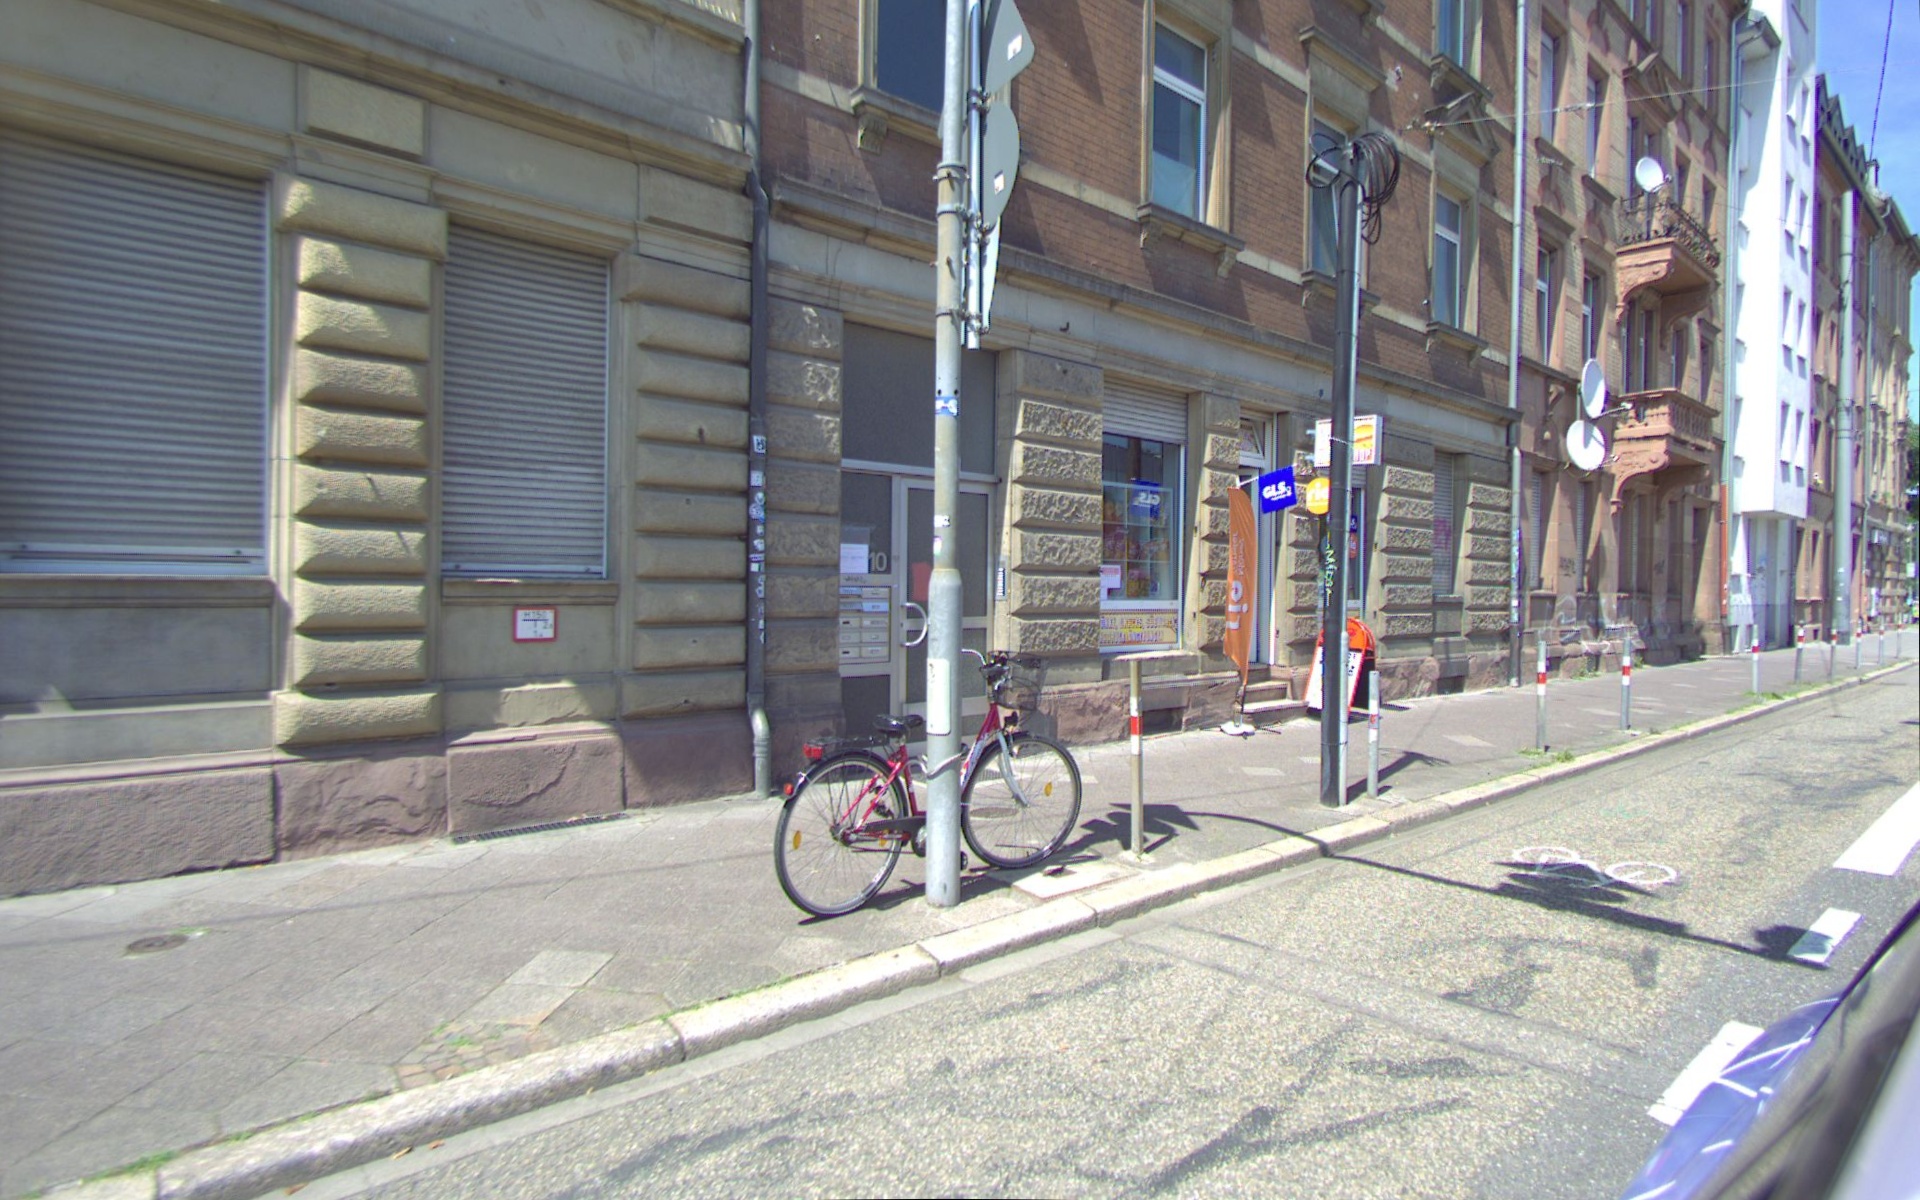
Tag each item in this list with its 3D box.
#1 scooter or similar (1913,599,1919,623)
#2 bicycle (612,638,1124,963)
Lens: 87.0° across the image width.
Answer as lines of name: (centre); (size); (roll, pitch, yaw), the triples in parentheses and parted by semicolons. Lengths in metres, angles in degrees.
scooter or similar: (47.590, 0.538, 49.305); (1.507, 1.170, 0.710); (1, 1, 22)
bicycle: (-0.290, 0.767, 4.563); (2.376, 1.110, 0.449); (0, 1, -35)
